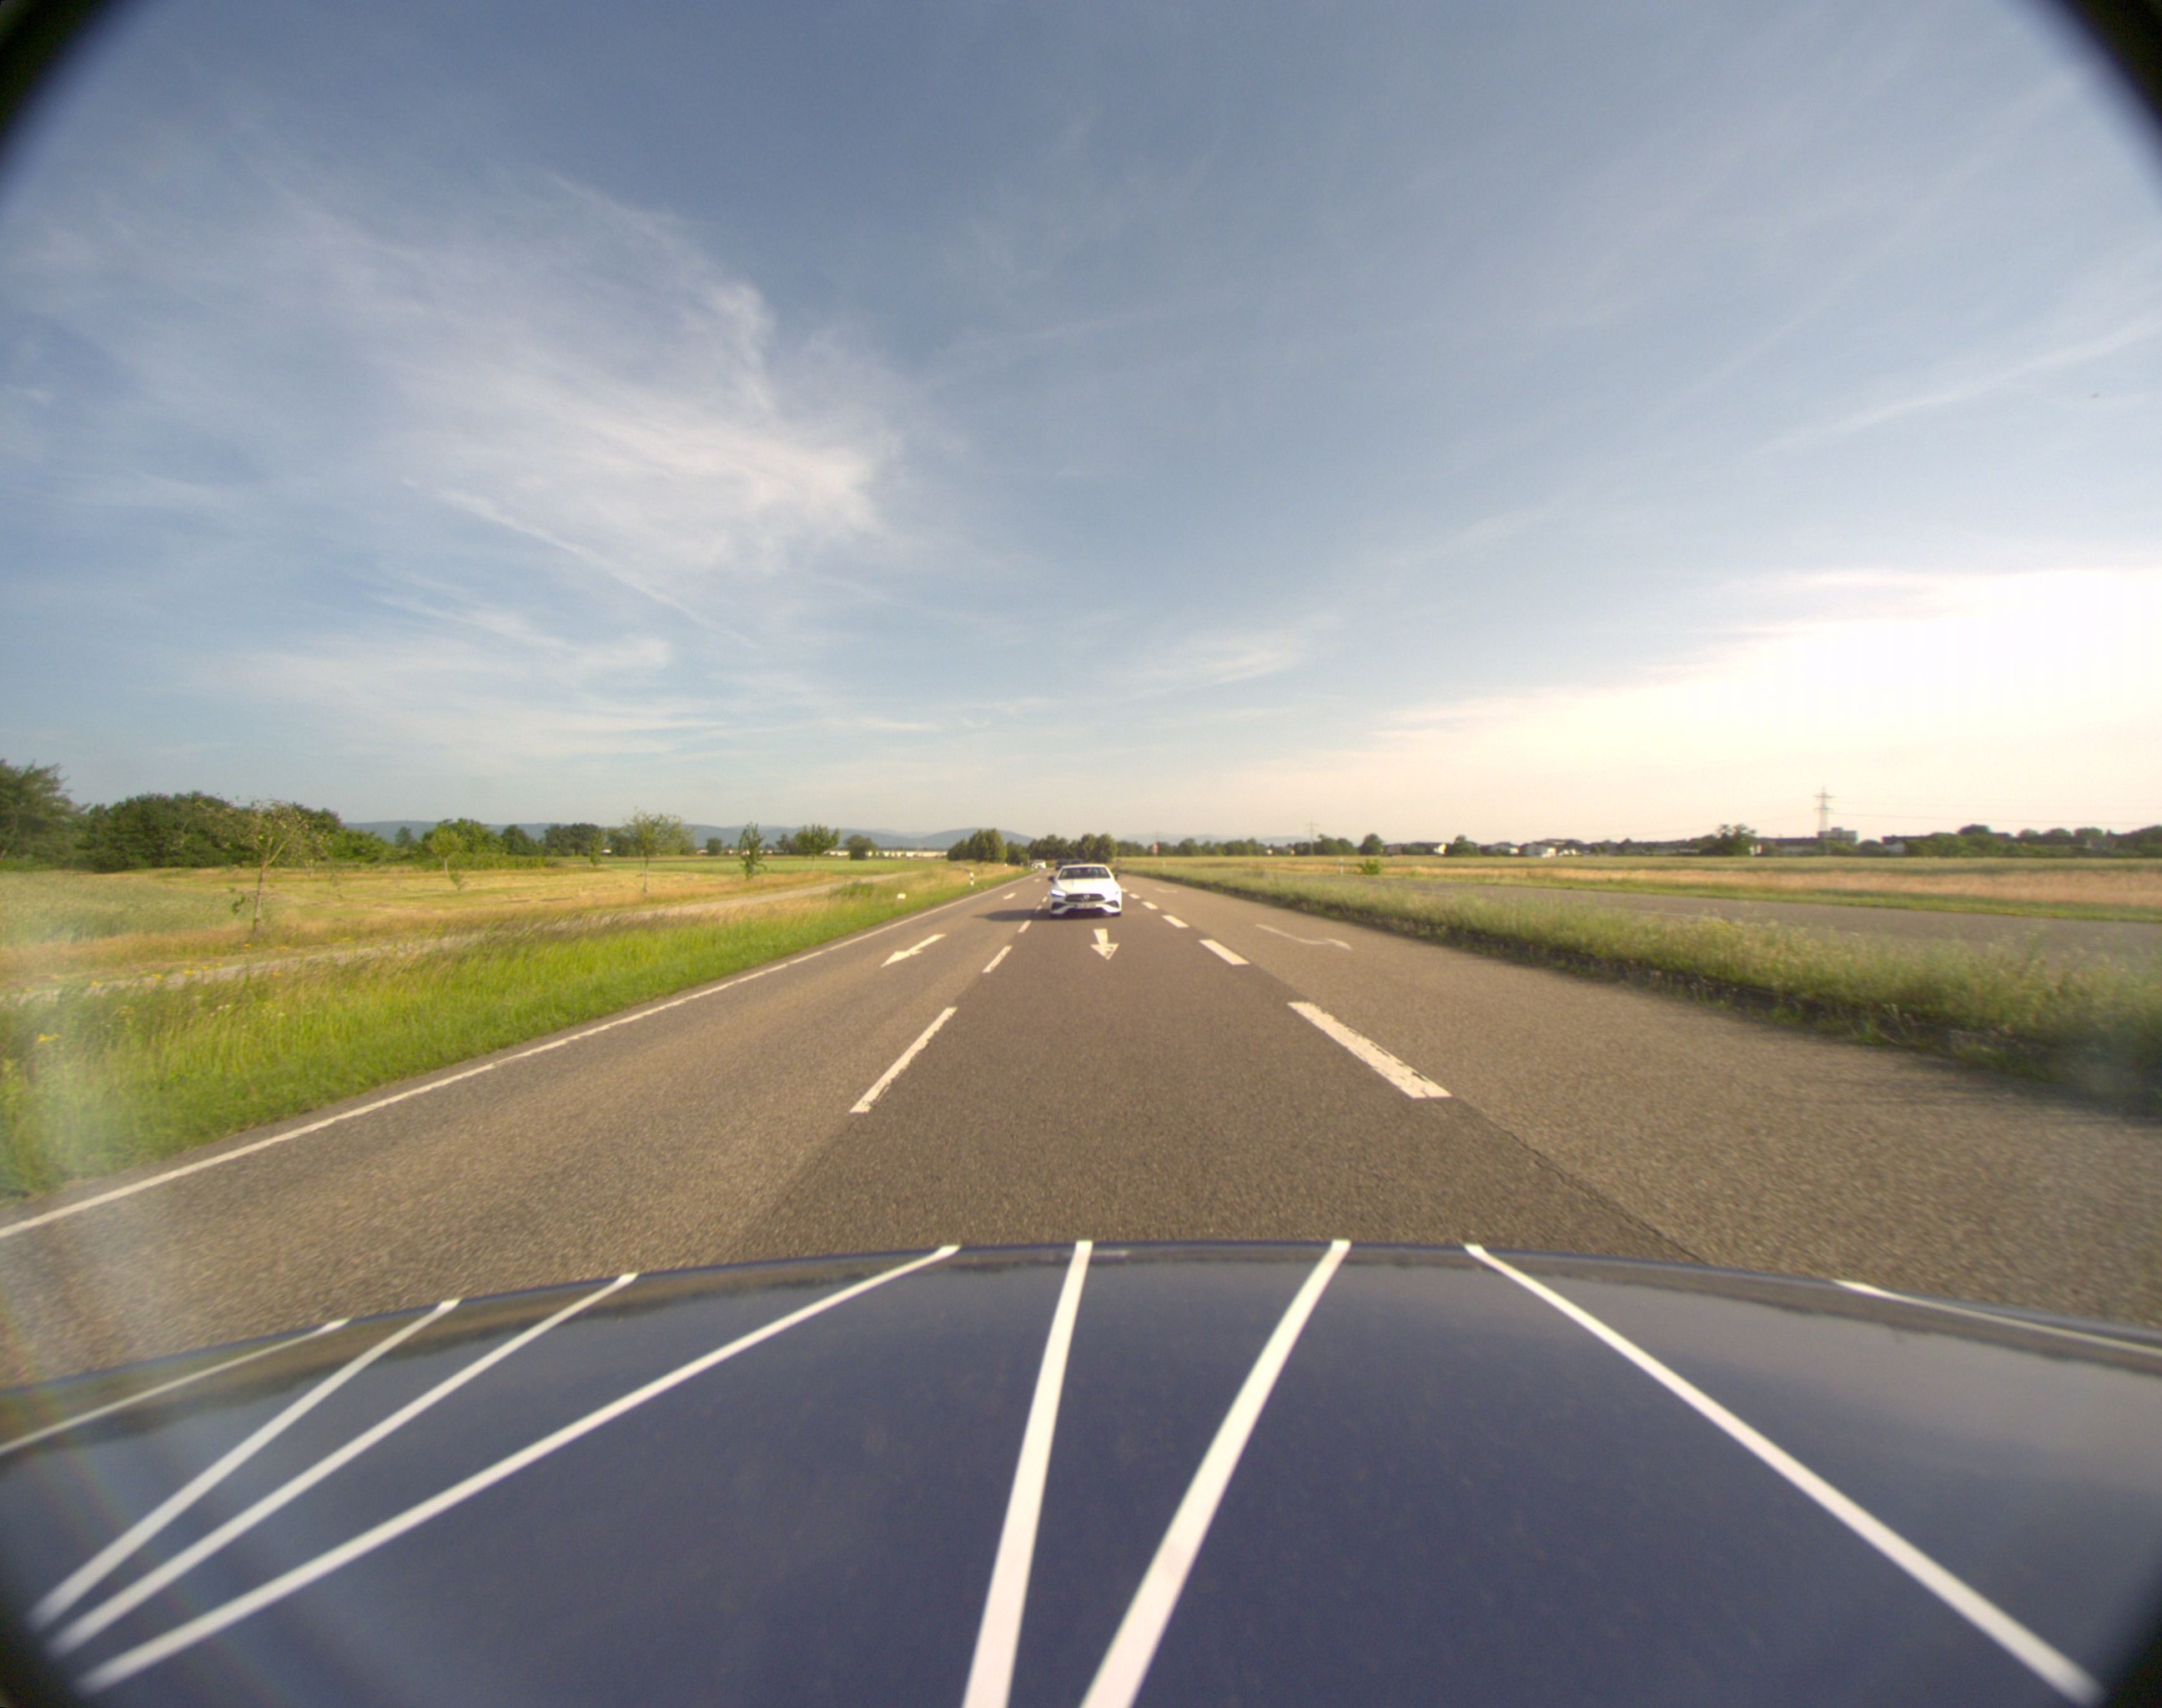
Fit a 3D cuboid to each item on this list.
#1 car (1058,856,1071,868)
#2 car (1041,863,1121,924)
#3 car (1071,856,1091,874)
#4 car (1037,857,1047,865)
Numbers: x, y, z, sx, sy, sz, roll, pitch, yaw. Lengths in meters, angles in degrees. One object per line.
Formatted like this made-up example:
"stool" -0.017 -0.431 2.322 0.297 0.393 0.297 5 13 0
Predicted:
"car" -2.180 1.103 103.155 1.557 1.550 3.049 -1 0 2
"car" 0.081 1.013 20.965 1.941 1.389 3.919 -3 0 2
"car" 0.046 0.956 67.624 1.584 1.496 3.661 -2 0 2
"car" -6.807 1.169 132.601 1.557 1.392 4.035 -1 0 0
